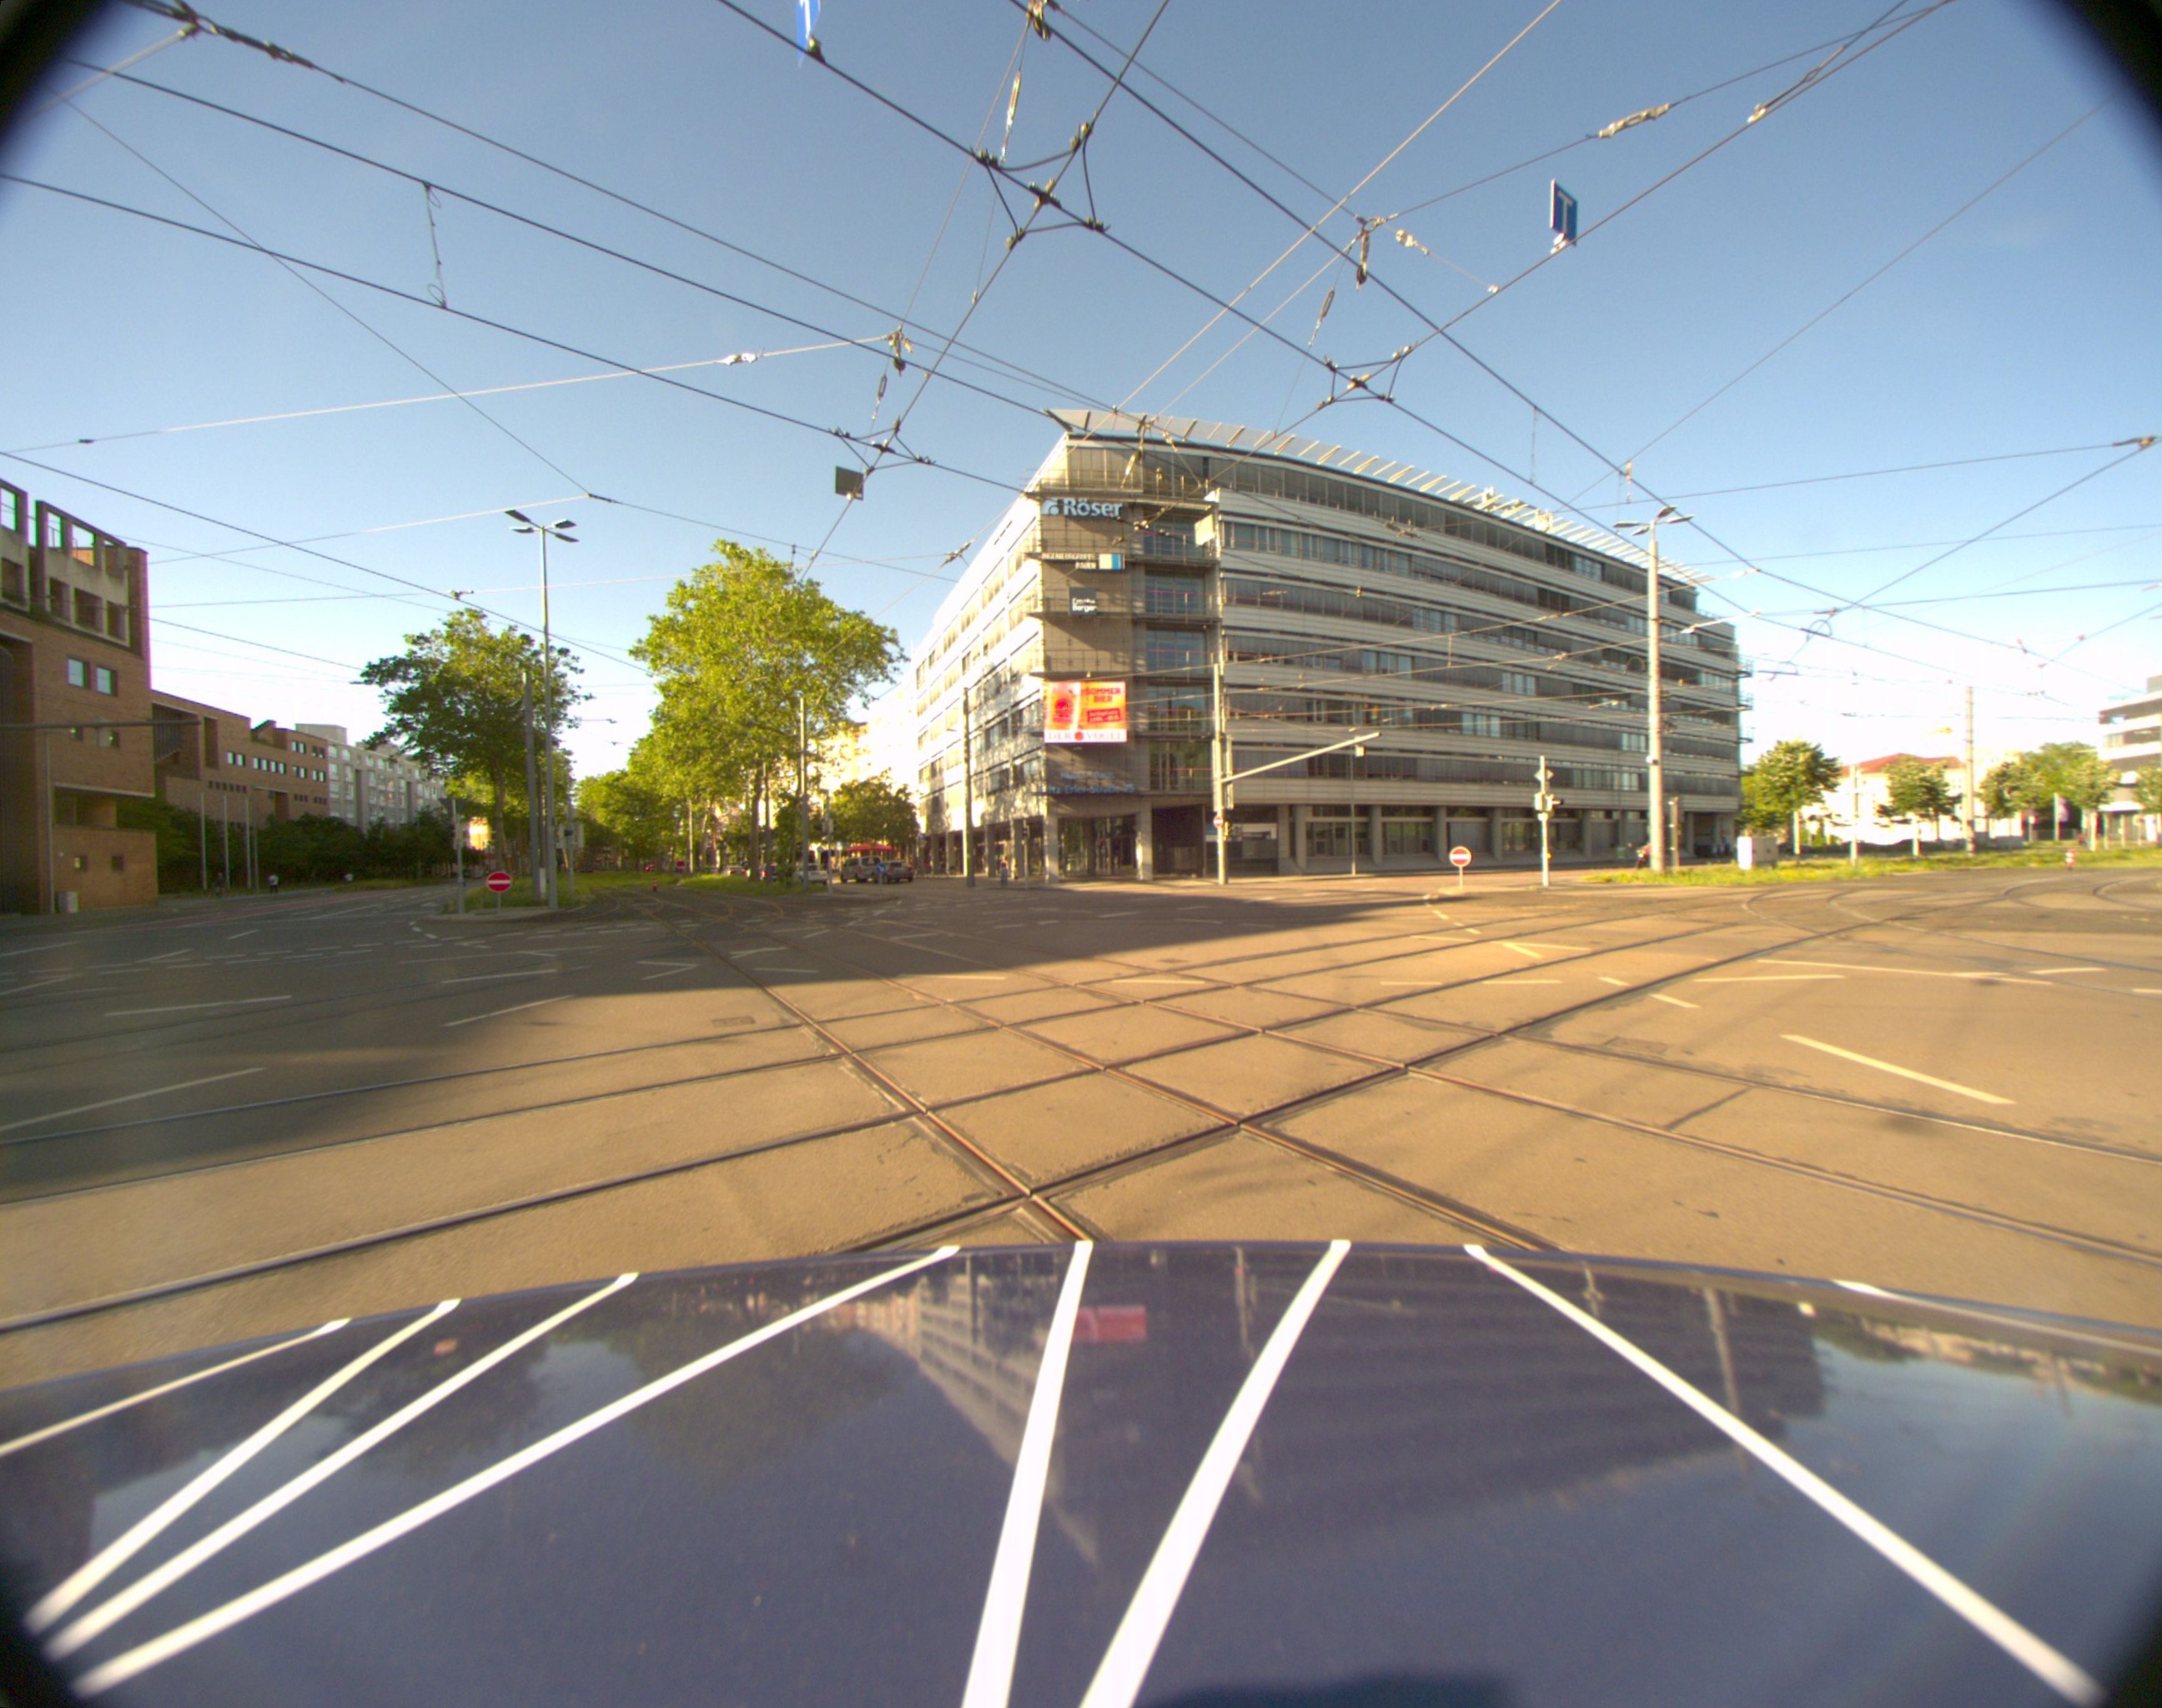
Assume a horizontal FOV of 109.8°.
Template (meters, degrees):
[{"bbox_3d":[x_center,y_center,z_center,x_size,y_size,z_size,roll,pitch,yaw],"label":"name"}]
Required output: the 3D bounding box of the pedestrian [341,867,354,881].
[{"bbox_3d":[-73.603,2.014,76.213,0.814,1.376,0.685,-1,1,-34],"label":"pedestrian"}]

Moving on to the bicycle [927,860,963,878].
[{"bbox_3d":[-9.803,1.081,54.668,2.397,1.206,0.774,-1,-1,-22],"label":"bicycle"}]

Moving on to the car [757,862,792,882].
[{"bbox_3d":[-24.210,1.402,59.984,1.870,1.466,3.968,-1,0,-31],"label":"car"}]

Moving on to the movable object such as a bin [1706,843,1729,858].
[{"bbox_3d":[59.113,-0.313,70.525,1.330,1.293,1.172,-1,0,-25],"label":"movable object such as a bin"}]

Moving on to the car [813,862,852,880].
[{"bbox_3d":[-21.996,1.478,67.208,1.871,1.466,3.966,-2,0,-41],"label":"car"}]

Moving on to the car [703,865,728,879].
[{"bbox_3d":[-39.119,1.905,81.334,1.703,1.466,3.971,-2,0,-36],"label":"car"}]

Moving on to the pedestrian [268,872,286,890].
[{"bbox_3d":[-62.800,2.135,59.358,0.814,1.376,0.685,-1,1,-34],"label":"pedestrian"}]

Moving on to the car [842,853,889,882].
[{"bbox_3d":[-15.844,0.953,55.671,1.870,2.004,4.446,-2,0,-36],"label":"car"}]

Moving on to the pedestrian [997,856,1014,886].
[{"bbox_3d":[-4.127,0.917,41.412,0.662,1.630,0.791,-1,0,-29],"label":"pedestrian"}]

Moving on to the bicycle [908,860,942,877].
[{"bbox_3d":[-11.367,1.028,55.429,2.400,1.206,0.773,0,-1,-43],"label":"bicycle"}]

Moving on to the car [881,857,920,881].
[{"bbox_3d":[-12.205,0.992,51.254,1.869,1.466,3.970,-1,0,-24],"label":"car"}]

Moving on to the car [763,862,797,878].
[{"bbox_3d":[-29.789,1.544,75.237,1.871,1.466,3.966,-2,0,-41],"label":"car"}]

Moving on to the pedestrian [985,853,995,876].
[{"bbox_3d":[-7.060,0.796,58.730,0.587,1.723,0.792,-2,-1,-17],"label":"pedestrian"}]

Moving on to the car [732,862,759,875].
[{"bbox_3d":[-39.478,1.684,89.359,1.871,1.466,3.966,-2,0,-41],"label":"car"}]

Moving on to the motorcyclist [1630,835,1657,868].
[{"bbox_3d":[31.740,-0.139,42.889,1.114,1.847,0.820,-2,2,-28],"label":"motorcyclist"}]

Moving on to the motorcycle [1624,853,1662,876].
[{"bbox_3d":[31.701,0.572,42.880,2.259,1.214,0.820,-1,1,-28],"label":"motorcycle"}]

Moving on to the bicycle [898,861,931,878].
[{"bbox_3d":[-12.719,1.185,58.182,2.400,1.206,0.773,0,-1,-43],"label":"bicycle"}]

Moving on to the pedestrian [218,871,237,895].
[{"bbox_3d":[-57.242,1.922,50.951,0.685,1.596,0.814,-1,1,42],"label":"pedestrian"}]

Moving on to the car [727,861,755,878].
[{"bbox_3d":[-31.423,1.432,70.095,1.703,1.432,4.009,-2,0,-33],"label":"car"}]

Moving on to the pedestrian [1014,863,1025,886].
[{"bbox_3d":[-3.344,1.101,41.158,0.444,1.203,0.461,-1,0,-29],"label":"pedestrian"}]

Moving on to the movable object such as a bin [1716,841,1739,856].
[{"bbox_3d":[60.397,-0.512,70.946,1.330,1.293,1.172,-1,0,-25],"label":"movable object such as a bin"}]

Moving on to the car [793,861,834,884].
[{"bbox_3d":[-17.200,1.170,48.752,1.669,1.380,3.528,0,-1,-33],"label":"car"}]

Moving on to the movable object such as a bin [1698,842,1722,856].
[{"bbox_3d":[56.638,-0.440,68.413,1.175,1.293,1.326,-2,0,-25],"label":"movable object such as a bin"}]
